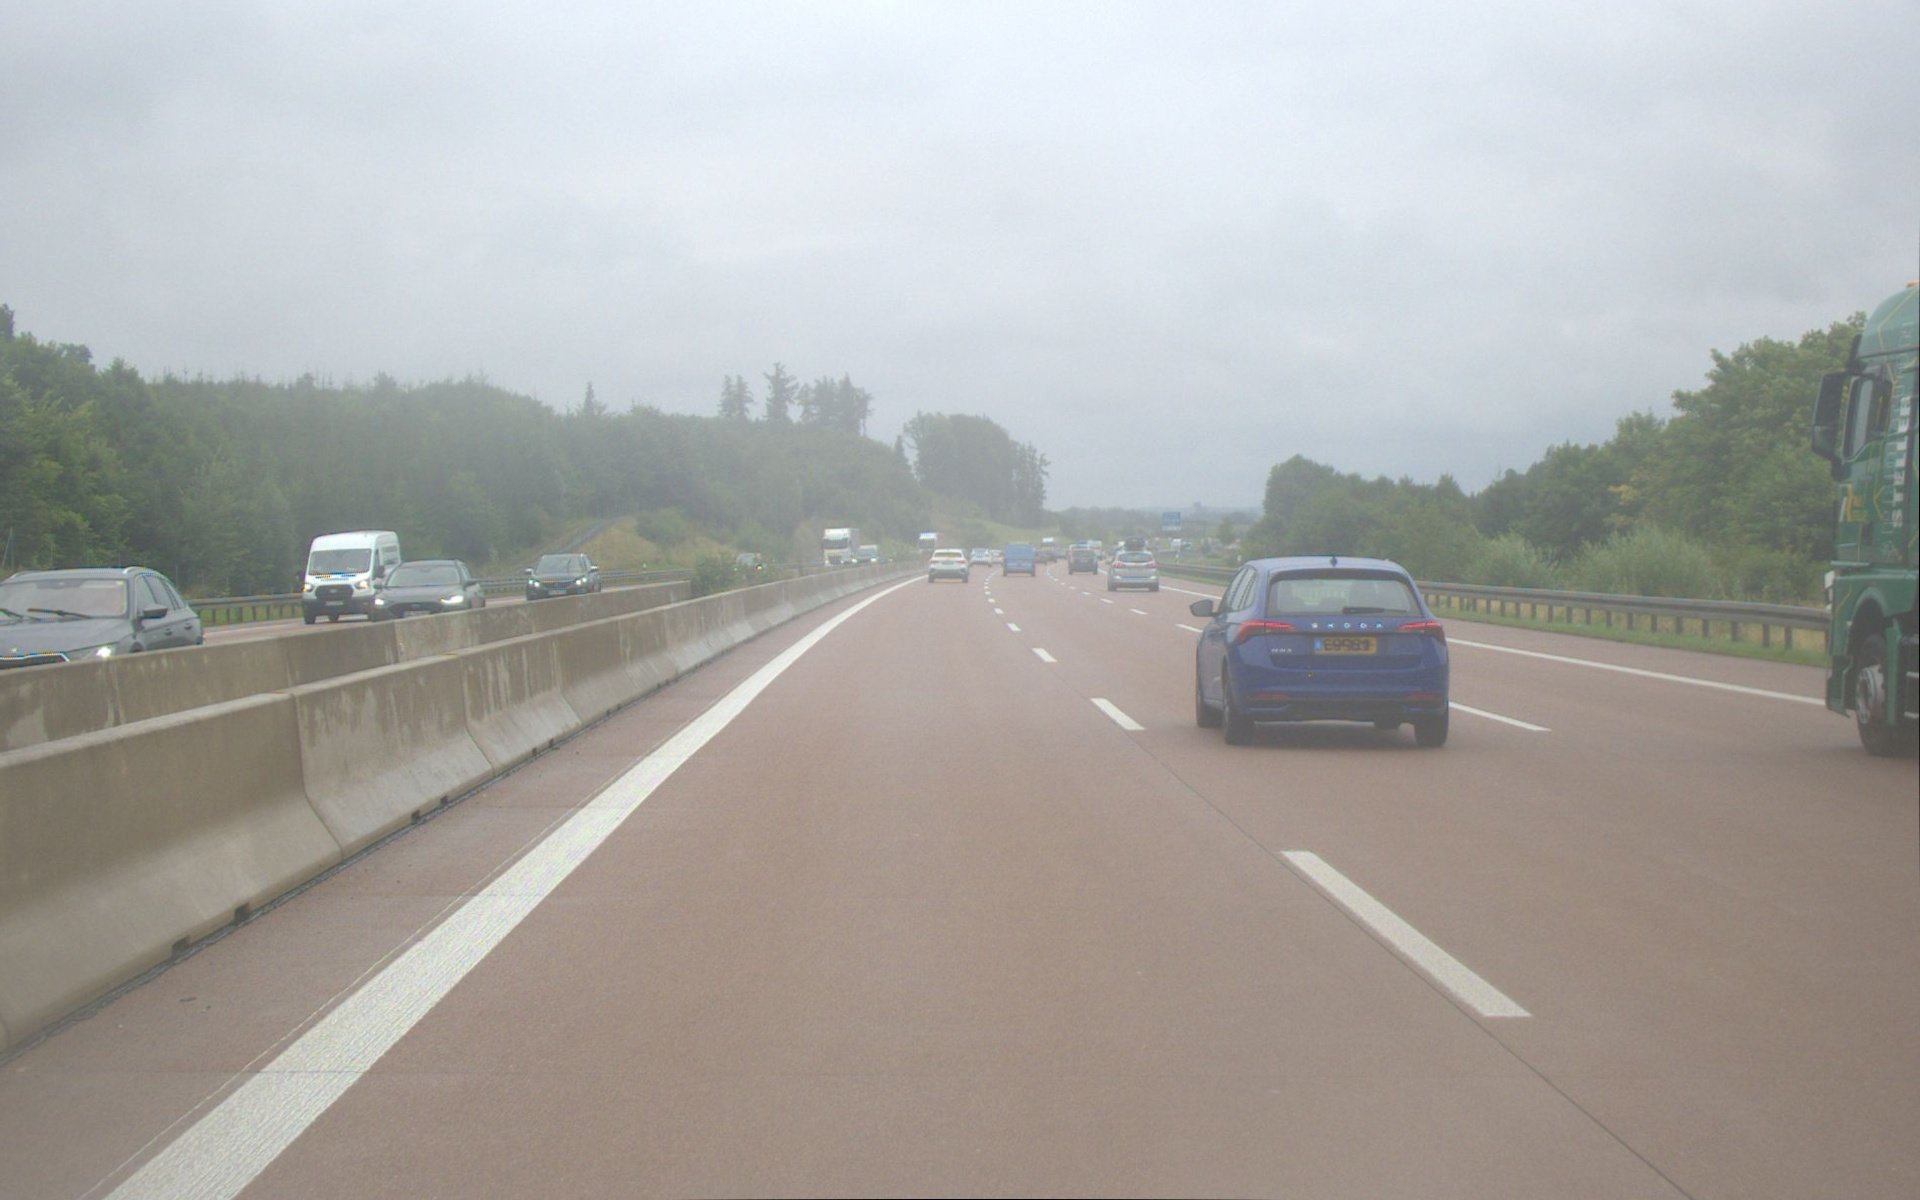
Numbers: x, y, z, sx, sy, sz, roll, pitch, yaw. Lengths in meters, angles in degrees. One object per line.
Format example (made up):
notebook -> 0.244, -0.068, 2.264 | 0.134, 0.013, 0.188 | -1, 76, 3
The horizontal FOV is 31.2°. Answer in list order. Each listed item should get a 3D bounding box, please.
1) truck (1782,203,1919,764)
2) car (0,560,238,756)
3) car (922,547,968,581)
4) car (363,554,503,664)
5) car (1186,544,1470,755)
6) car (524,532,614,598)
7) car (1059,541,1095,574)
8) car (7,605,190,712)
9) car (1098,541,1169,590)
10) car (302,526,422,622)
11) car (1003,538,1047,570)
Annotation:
truck -> 8.198, -0.805, 24.321 | 2.897, 3.951, 6.989 | 1, 0, -1
car -> -8.461, 0.512, 33.118 | 1.857, 1.701, 6.164 | 1, 0, -2
car -> -0.722, -1.658, 159.515 | 1.874, 1.439, 4.877 | 1, 0, -3
car -> -10.085, 0.177, 66.176 | 1.993, 2.007, 5.526 | 1, 0, -2
car -> 2.902, 0.382, 27.912 | 1.771, 1.559, 4.146 | 1, 0, -1
car -> -11.061, -1.004, 97.552 | 1.993, 1.820, 4.687 | 0, 1, 0
car -> 7.346, -2.670, 215.674 | 1.993, 2.007, 4.000 | 1, 0, -1
car -> -13.105, 0.855, 52.553 | 1.649, 1.385, 4.811 | -3, 1, -2
car -> 6.495, -1.292, 129.491 | 2.322, 1.744, 4.877 | 1, 0, -1
car -> -16.768, -0.704, 96.696 | 2.224, 2.576, 6.254 | 1, 0, 0
car -> 3.730, -2.633, 197.556 | 2.322, 1.744, 4.877 | 1, 0, -1
